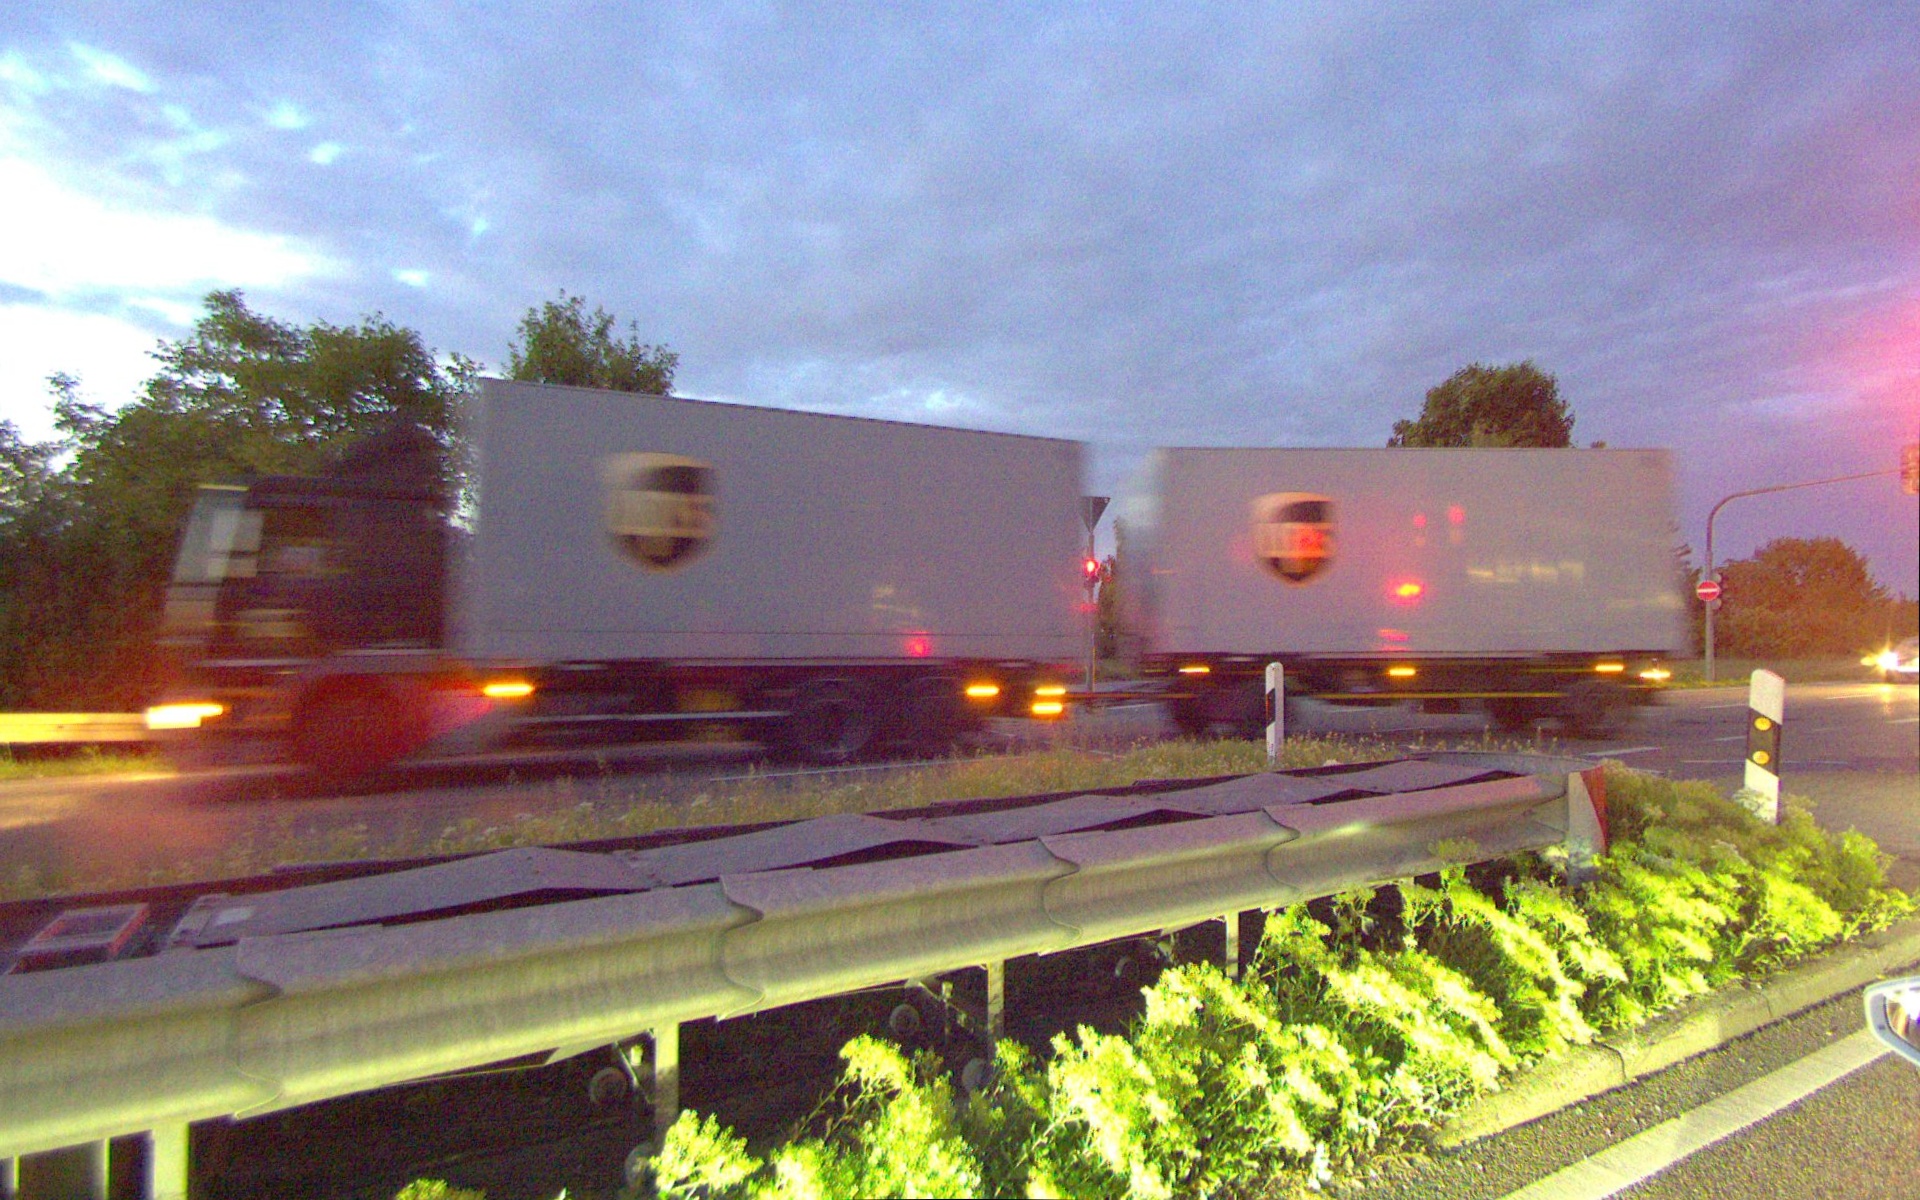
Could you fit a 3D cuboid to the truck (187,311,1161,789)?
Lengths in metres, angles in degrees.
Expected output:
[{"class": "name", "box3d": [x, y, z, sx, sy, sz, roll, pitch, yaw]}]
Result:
[{"class": "truck", "box3d": [-2.594, -0.289, 12.146, 10.204, 4.172, 2.718, 2, -1, -25]}]

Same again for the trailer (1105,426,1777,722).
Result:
[{"class": "trailer", "box3d": [6.683, -0.315, 14.889, 8.702, 3.995, 2.586, 0, -2, 0]}]

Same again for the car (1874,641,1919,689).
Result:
[{"class": "car", "box3d": [31.011, 2.070, 32.031, 3.983, 1.403, 1.644, 2, 0, -31]}]
